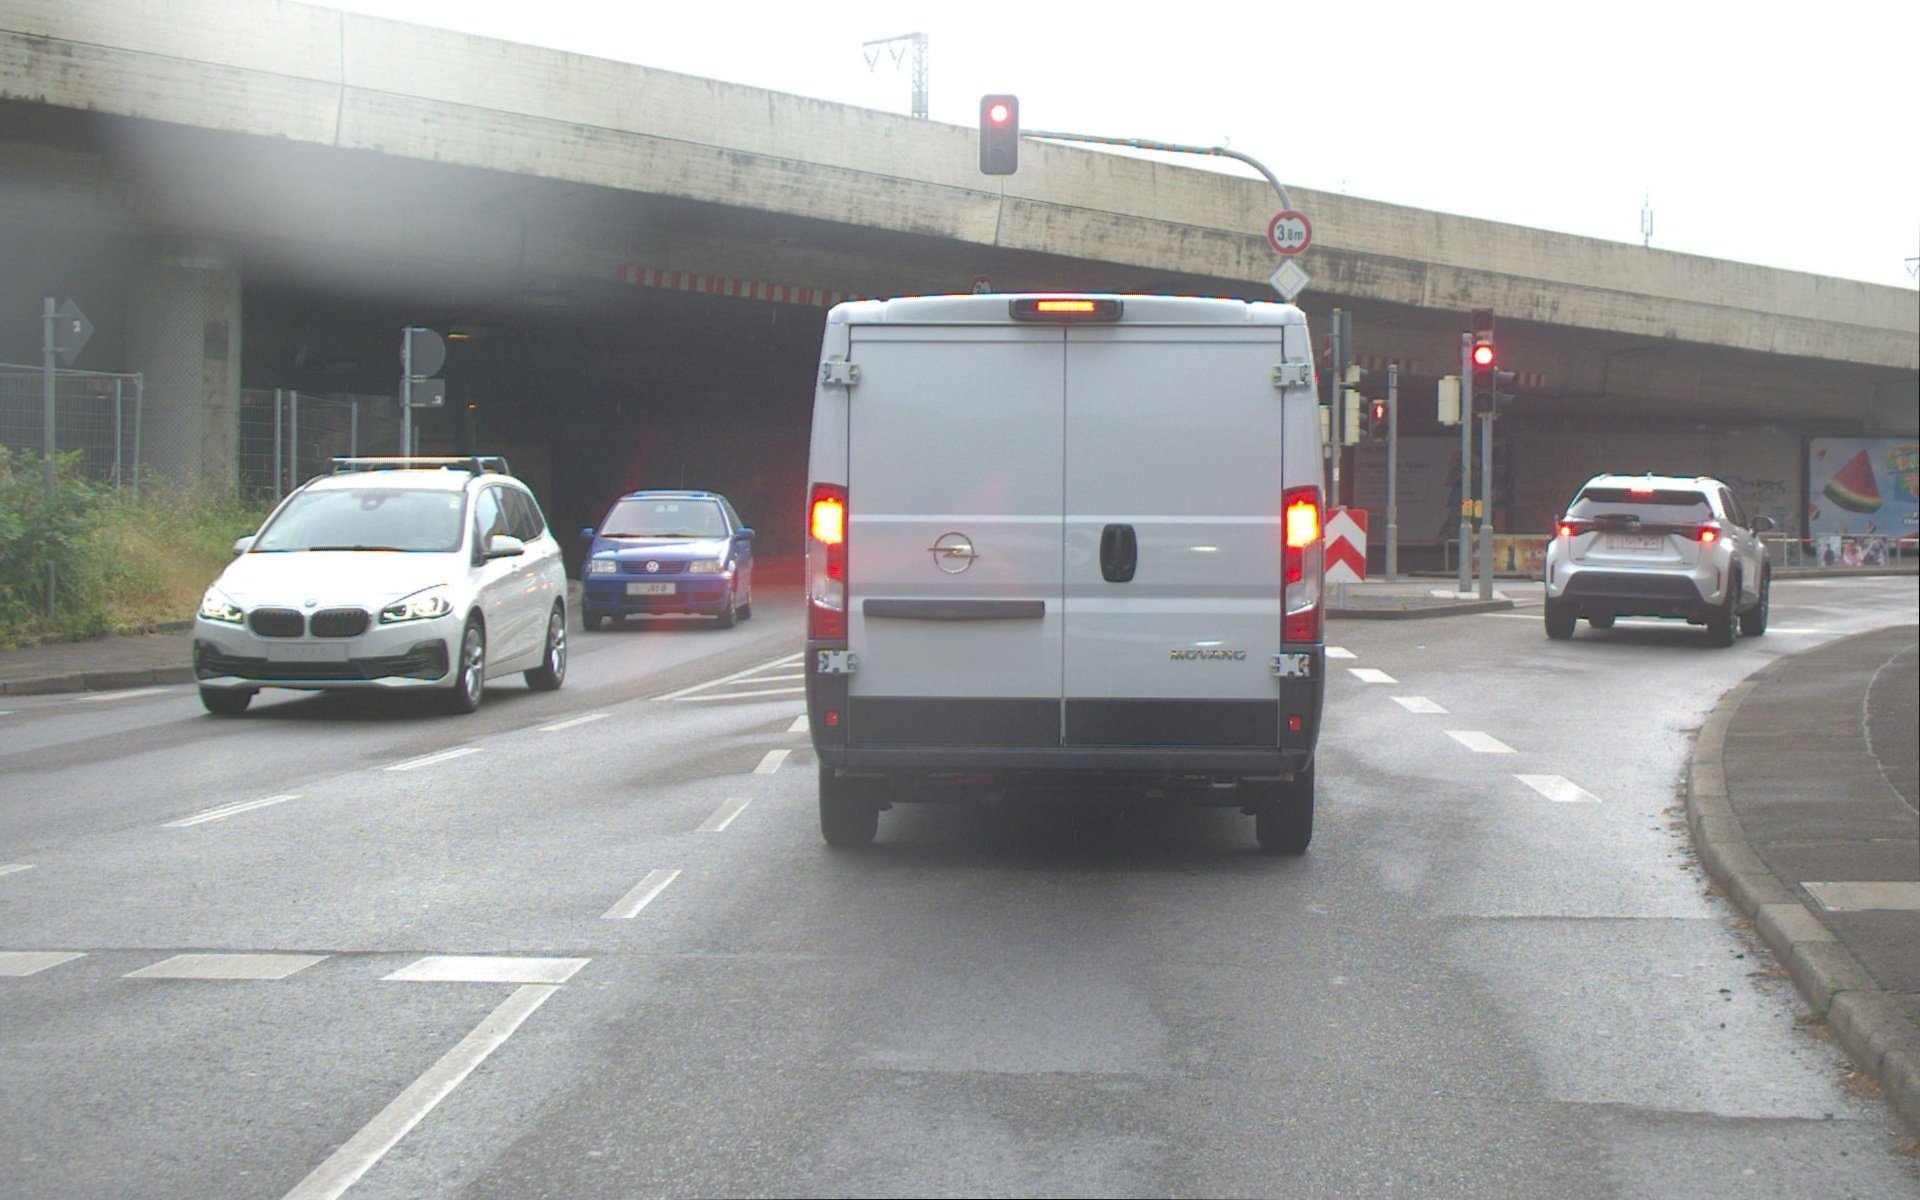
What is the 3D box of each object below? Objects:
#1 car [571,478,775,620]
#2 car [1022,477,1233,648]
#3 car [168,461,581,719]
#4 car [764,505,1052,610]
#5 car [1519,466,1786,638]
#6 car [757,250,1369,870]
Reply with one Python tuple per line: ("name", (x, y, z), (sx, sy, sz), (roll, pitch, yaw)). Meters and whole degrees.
("car", (-3.014, -0.583, 36.712), (1.598, 1.421, 3.697), (1, 2, 4))
("car", (1.878, -0.413, 37.365), (1.994, 1.723, 3.999), (1, 1, 7))
("car", (-3.946, -0.152, 23.899), (1.831, 1.573, 4.334), (2, 3, 4))
("car", (-0.812, -0.663, 53.167), (3.994, 1.548, 1.996), (1, 1, 33))
("car", (6.768, -0.466, 33.308), (1.995, 1.544, 3.996), (1, 1, 19))
("car", (0.553, -0.245, 15.718), (2.305, 2.335, 5.282), (1, 2, 4))
